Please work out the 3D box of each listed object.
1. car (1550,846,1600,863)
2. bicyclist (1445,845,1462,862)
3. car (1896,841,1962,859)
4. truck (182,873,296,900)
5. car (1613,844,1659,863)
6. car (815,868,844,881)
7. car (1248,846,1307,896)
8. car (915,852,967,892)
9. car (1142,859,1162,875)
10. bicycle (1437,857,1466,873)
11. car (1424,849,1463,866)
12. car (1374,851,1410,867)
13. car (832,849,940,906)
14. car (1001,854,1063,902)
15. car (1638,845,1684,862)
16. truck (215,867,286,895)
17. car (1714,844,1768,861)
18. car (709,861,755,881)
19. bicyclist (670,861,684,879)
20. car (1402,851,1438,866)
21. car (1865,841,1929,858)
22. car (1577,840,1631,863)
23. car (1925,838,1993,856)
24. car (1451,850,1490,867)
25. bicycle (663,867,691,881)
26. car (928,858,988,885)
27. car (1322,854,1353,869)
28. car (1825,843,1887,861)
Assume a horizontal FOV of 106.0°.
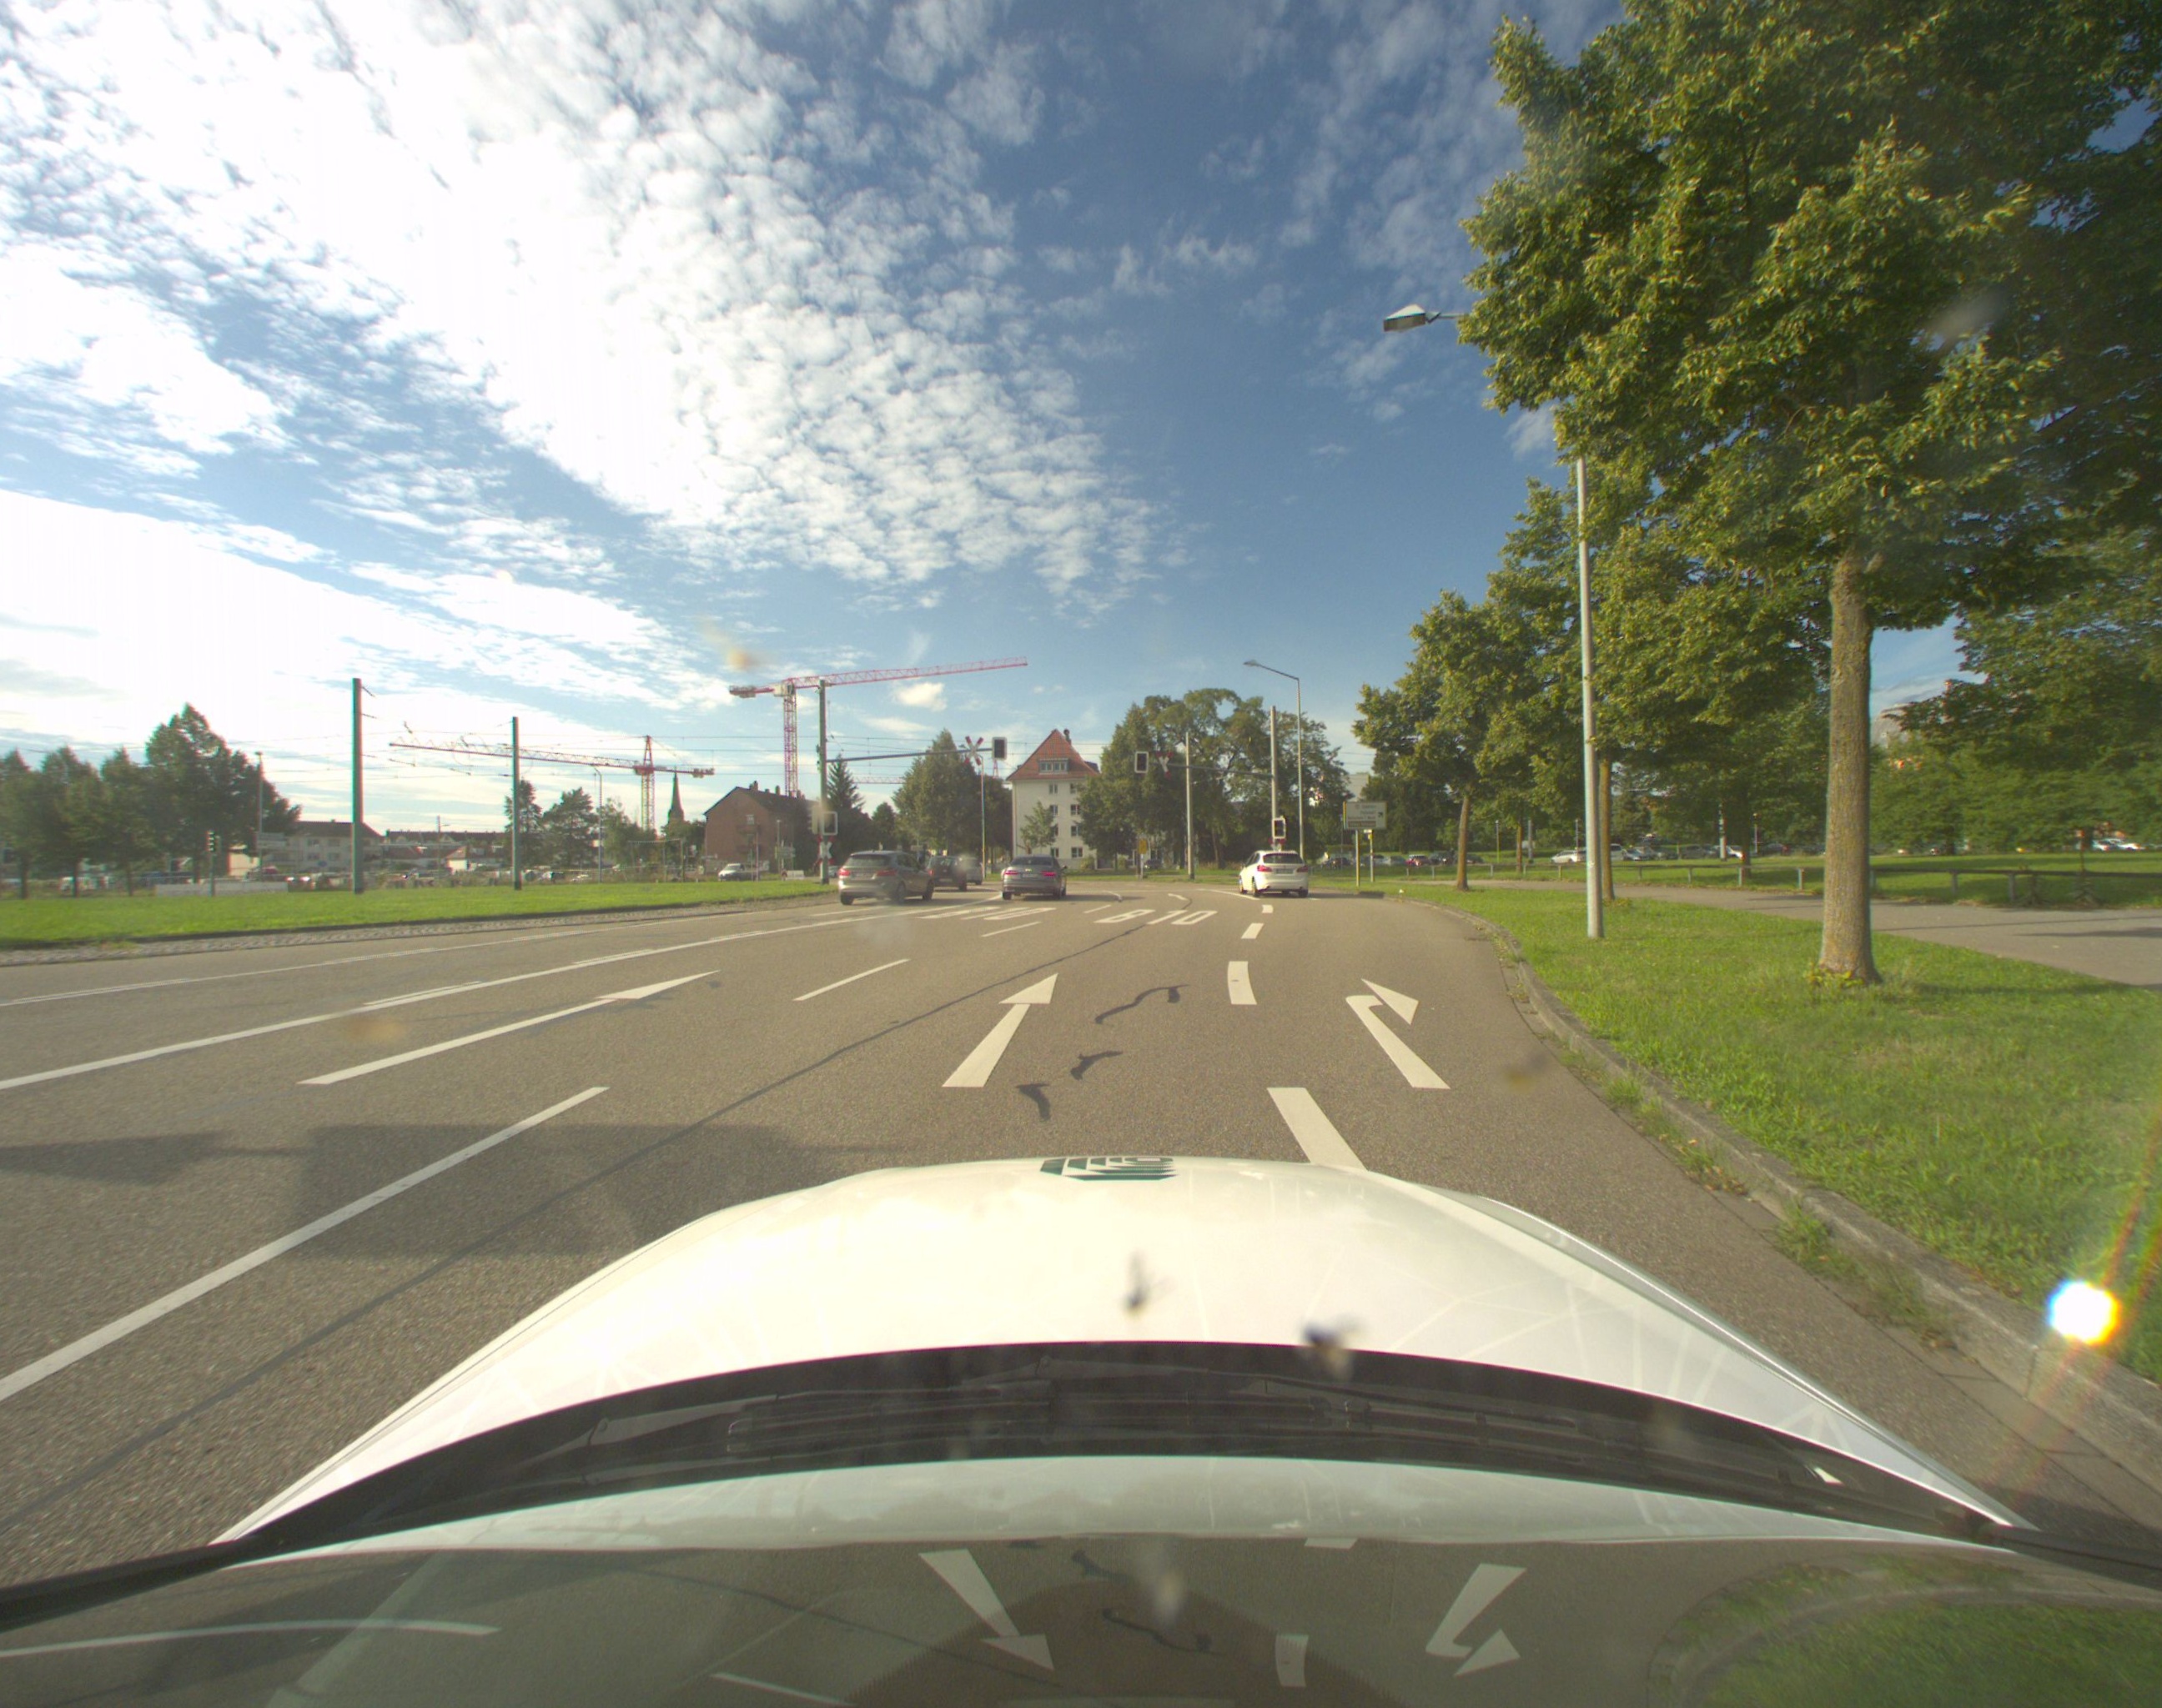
[{"bbox_3d":[46.333,0.069,76.523,1.851,1.515,4.464,-2,-1,-3],"label":"car"},{"bbox_3d":[30.713,-0.013,67.138,1.008,1.355,0.708,-1,-1,-27],"label":"bicyclist"},{"bbox_3d":[78.293,-0.383,75.286,1.843,1.541,4.479,-2,-1,8],"label":"car"},{"bbox_3d":[-90.223,3.419,87.435,3.038,2.567,7.901,-2,-1,21],"label":"truck"},{"bbox_3d":[52.187,-0.069,76.668,2.082,1.674,4.484,-2,-1,12],"label":"car"},{"bbox_3d":[-31.272,2.489,101.369,1.887,1.543,4.666,0,-1,4],"label":"car"},{"bbox_3d":[6.844,0.585,28.327,1.837,1.572,4.471,-1,-1,14],"label":"car"},{"bbox_3d":[-5.782,0.756,34.144,1.992,1.541,3.988,1,-2,-8],"label":"car"},{"bbox_3d":[6.791,1.234,78.385,1.846,1.381,4.521,-2,-1,5],"label":"car"},{"bbox_3d":[30.549,0.893,67.089,2.534,1.222,0.708,-1,-1,-27],"label":"bicycle"},{"bbox_3d":[34.314,0.378,77.265,1.846,1.515,4.951,-2,-1,5],"label":"car"},{"bbox_3d":[29.678,0.481,77.836,1.846,1.358,4.840,-2,-1,5],"label":"car"},{"bbox_3d":[-5.810,0.692,24.728,1.757,1.572,4.077,-1,-1,9],"label":"car"},{"bbox_3d":[-1.558,0.781,27.242,1.845,1.445,4.712,0,-1,-1],"label":"car"},{"bbox_3d":[54.371,-0.043,76.387,2.016,1.515,4.126,-2,-1,12],"label":"car"},{"bbox_3d":[-99.510,3.234,97.590,7.234,3.207,2.829,-2,-1,17],"label":"truck"},{"bbox_3d":[61.461,-0.119,75.904,1.845,1.504,4.479,-2,-1,8],"label":"car"},{"bbox_3d":[-34.509,1.653,80.650,1.884,1.903,4.675,-1,-1,11],"label":"car"},{"bbox_3d":[-36.684,1.443,73.898,0.959,1.575,0.768,-2,0,-16],"label":"bicyclist"},{"bbox_3d":[32.206,0.416,77.566,1.846,1.363,4.474,-2,-1,5],"label":"car"},{"bbox_3d":[75.686,-0.357,75.596,1.843,1.454,4.479,-2,-1,8],"label":"car"},{"bbox_3d":[49.110,-0.229,76.661,2.297,2.007,5.124,-2,-1,8],"label":"car"},{"bbox_3d":[81.065,-0.662,75.273,1.843,1.541,4.479,-2,-1,8],"label":"car"},{"bbox_3d":[36.916,0.428,77.358,1.846,1.515,4.474,-2,-1,5],"label":"car"},{"bbox_3d":[-36.663,1.796,73.899,2.147,1.137,0.768,-2,0,-16],"label":"bicycle"},{"bbox_3d":[-6.980,0.983,45.916,1.862,1.478,4.411,0,-1,-30],"label":"car"},{"bbox_3d":[24.399,0.714,77.628,1.846,1.359,4.739,-2,-1,5],"label":"car"},{"bbox_3d":[71.781,-0.169,75.534,1.843,1.541,4.479,-2,-1,8],"label":"car"}]
